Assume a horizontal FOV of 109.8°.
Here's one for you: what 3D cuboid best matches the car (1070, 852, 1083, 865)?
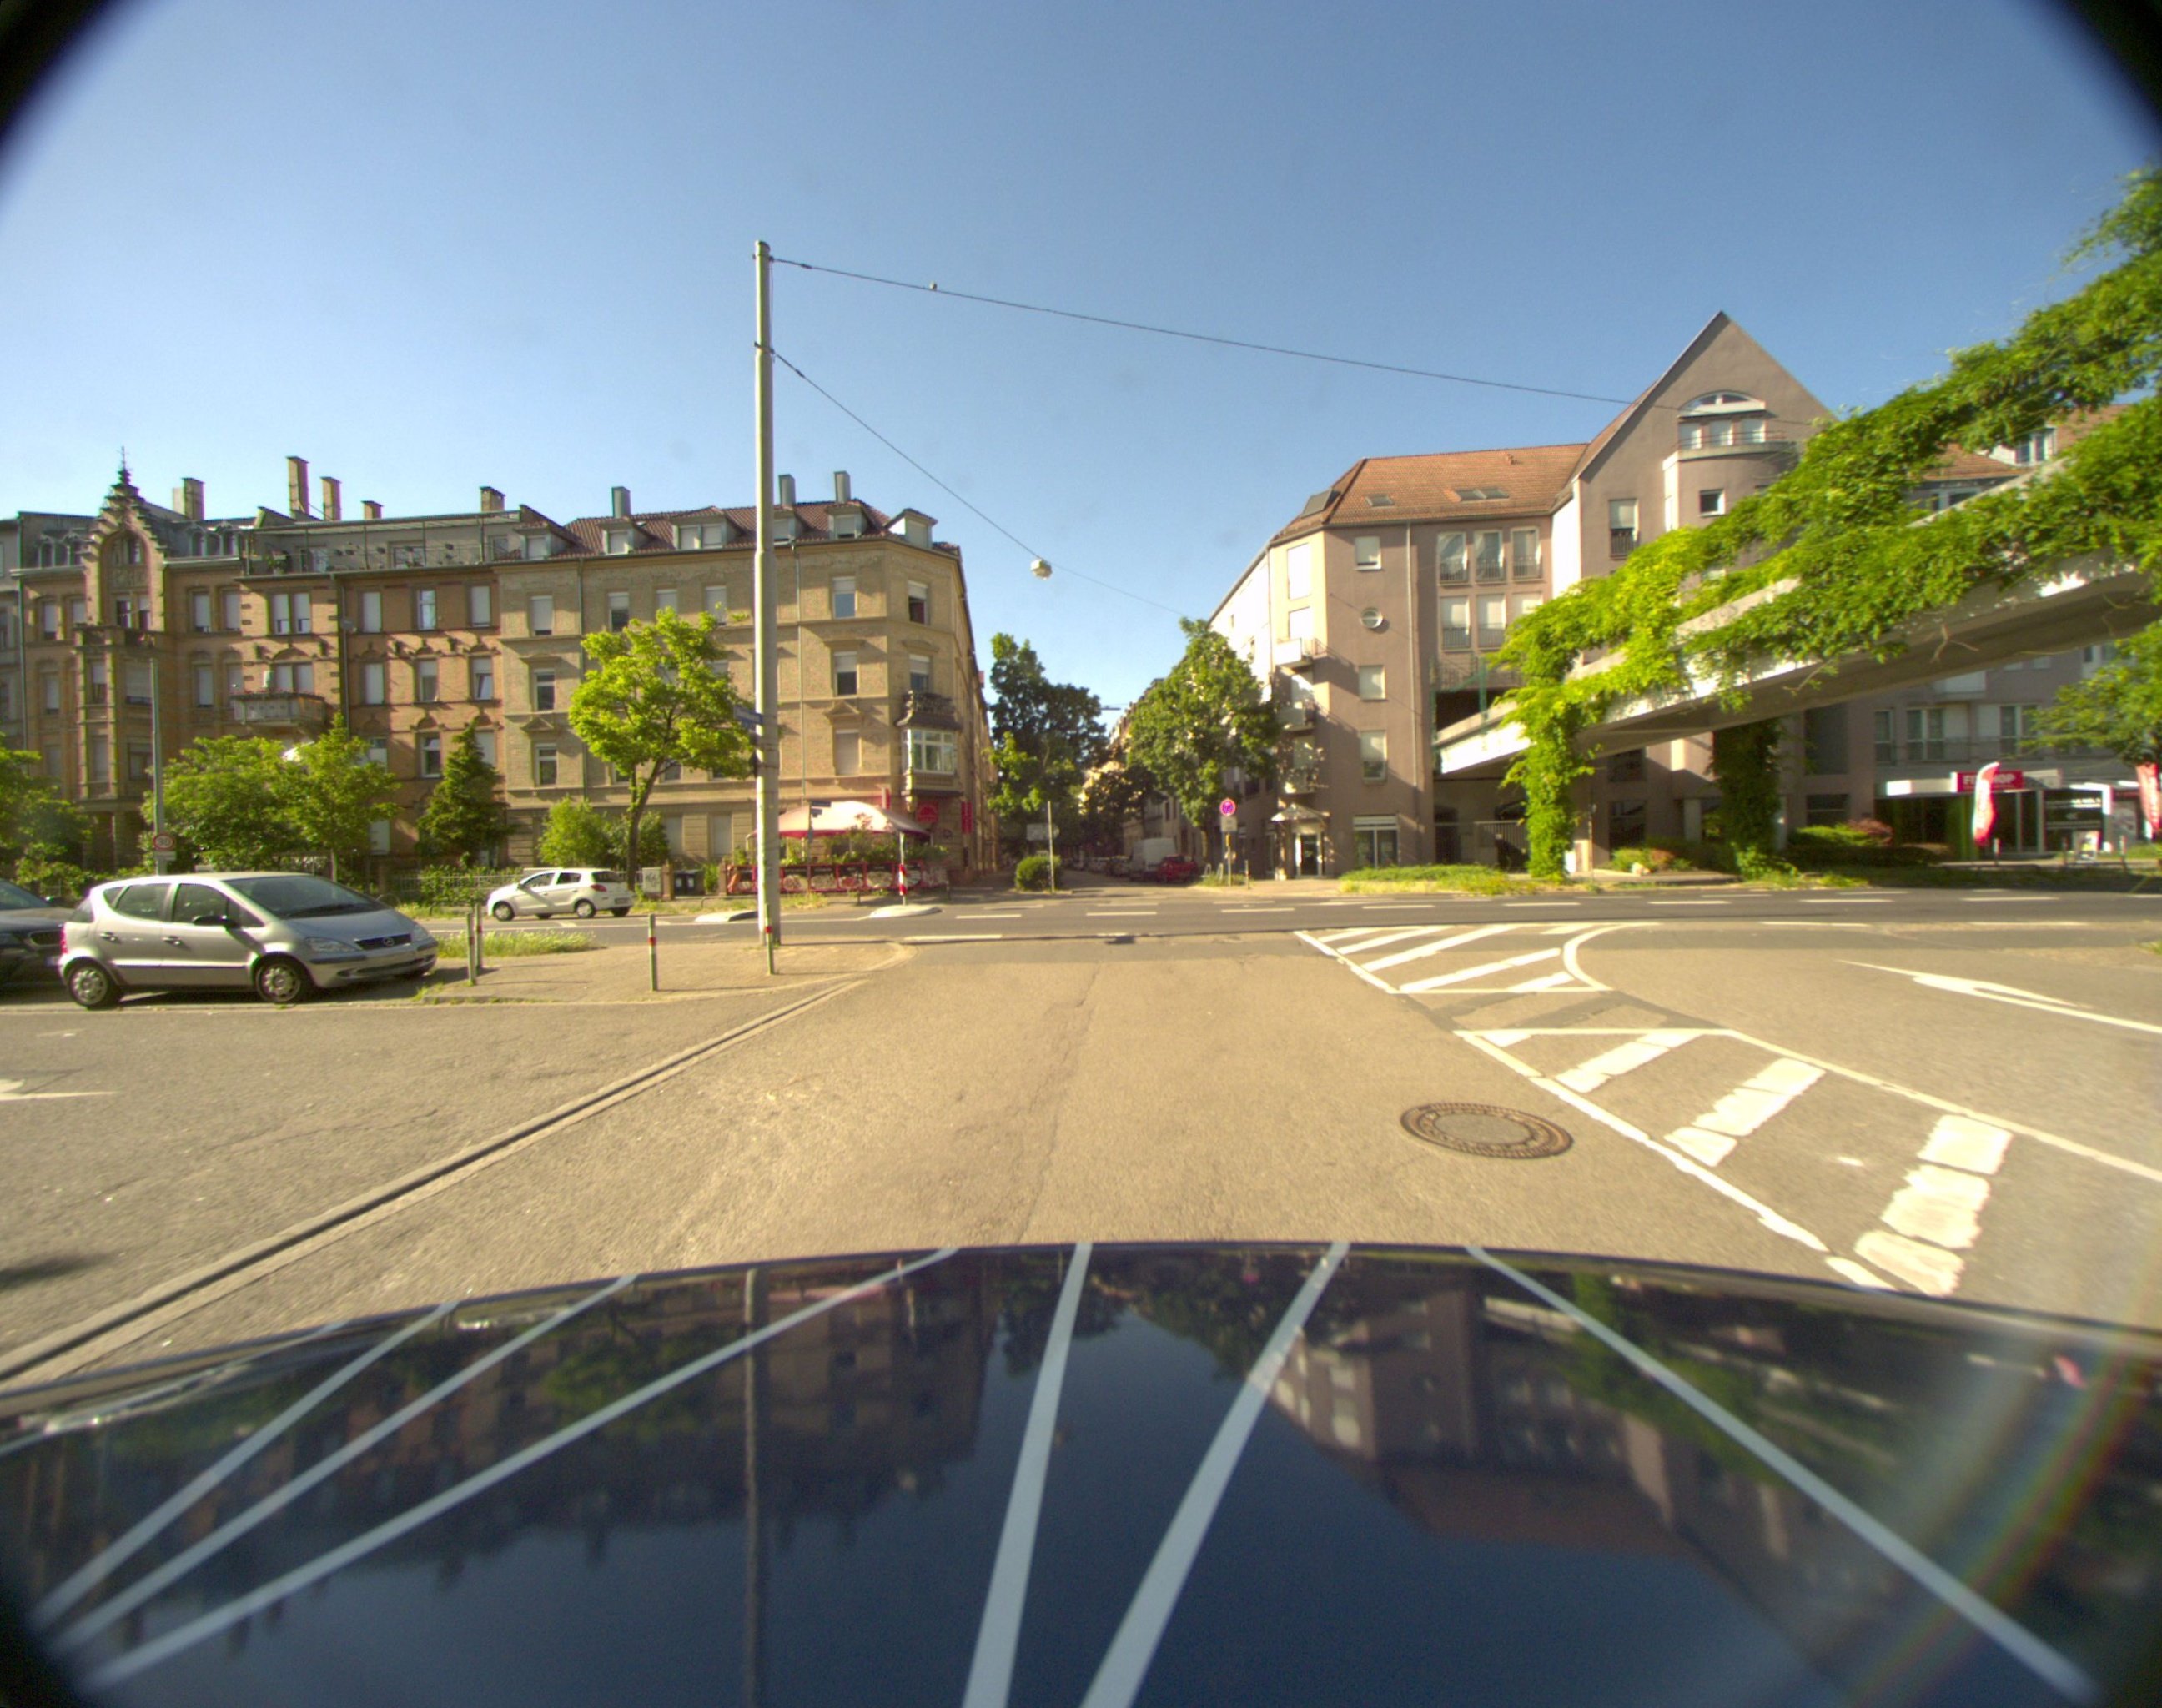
[{"bbox_3d":[-0.655,0.697,117.694,1.776,1.871,3.998,-2,0,-3],"label":"car"}]

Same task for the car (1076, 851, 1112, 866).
[{"bbox_3d":[1.444,0.531,87.435,3.998,1.576,1.818,-1,-2,-4],"label":"car"}]

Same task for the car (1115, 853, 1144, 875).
[{"bbox_3d":[3.610,0.711,57.147,1.695,1.548,3.820,-2,0,-4],"label":"car"}]

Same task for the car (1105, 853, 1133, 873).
[{"bbox_3d":[3.071,0.729,62.339,1.785,1.548,3.820,-2,0,-4],"label":"car"}]

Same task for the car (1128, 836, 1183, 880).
[{"bbox_3d":[4.360,0.203,45.470,2.220,2.437,5.092,-2,0,-6],"label":"car"}]

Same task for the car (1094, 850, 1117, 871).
[{"bbox_3d":[2.291,0.591,72.367,1.776,1.870,3.999,-2,0,-3],"label":"car"}]

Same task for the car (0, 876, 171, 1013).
[{"bbox_3d":[-15.510,1.200,10.251,4.499,1.618,1.874,-2,1,6],"label":"car"}]

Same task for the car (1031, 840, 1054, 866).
[{"bbox_3d":[-4.359,-0.103,84.845,2.275,2.645,4.321,-2,-2,-6],"label":"car"}]

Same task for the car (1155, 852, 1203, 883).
[{"bbox_3d":[5.010,0.663,39.480,1.692,1.454,3.998,-2,0,-4],"label":"car"}]

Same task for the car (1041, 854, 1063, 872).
[{"bbox_3d":[-2.631,0.815,67.360,1.694,1.464,3.999,-2,-1,-6],"label":"car"}]

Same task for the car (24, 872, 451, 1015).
[{"bbox_3d":[-10.549,1.068,9.707,3.528,1.510,1.725,-2,1,2],"label":"car"}]

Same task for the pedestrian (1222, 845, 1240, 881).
[{"bbox_3d":[6.740,0.401,34.131,0.632,1.567,0.532,-1,1,30],"label":"pedestrian"}]

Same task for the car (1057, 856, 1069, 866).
[{"bbox_3d":[-3.377,1.200,140.117,1.868,1.759,3.998,-2,0,-6],"label":"car"}]

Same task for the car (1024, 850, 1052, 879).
[{"bbox_3d":[-3.246,0.785,56.840,1.996,2.017,4.302,-2,-1,-4],"label":"car"}]

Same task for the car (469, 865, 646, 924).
[{"bbox_3d":[-15.277,1.162,22.284,4.095,1.521,1.665,-2,0,4],"label":"car"}]

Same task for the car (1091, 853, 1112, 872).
[{"bbox_3d":[2.055,0.838,78.345,1.776,1.871,3.998,-2,0,-3],"label":"car"}]

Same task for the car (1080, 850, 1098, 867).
[{"bbox_3d":[0.926,0.521,91.470,1.776,1.871,3.998,-2,0,-3],"label":"car"}]
